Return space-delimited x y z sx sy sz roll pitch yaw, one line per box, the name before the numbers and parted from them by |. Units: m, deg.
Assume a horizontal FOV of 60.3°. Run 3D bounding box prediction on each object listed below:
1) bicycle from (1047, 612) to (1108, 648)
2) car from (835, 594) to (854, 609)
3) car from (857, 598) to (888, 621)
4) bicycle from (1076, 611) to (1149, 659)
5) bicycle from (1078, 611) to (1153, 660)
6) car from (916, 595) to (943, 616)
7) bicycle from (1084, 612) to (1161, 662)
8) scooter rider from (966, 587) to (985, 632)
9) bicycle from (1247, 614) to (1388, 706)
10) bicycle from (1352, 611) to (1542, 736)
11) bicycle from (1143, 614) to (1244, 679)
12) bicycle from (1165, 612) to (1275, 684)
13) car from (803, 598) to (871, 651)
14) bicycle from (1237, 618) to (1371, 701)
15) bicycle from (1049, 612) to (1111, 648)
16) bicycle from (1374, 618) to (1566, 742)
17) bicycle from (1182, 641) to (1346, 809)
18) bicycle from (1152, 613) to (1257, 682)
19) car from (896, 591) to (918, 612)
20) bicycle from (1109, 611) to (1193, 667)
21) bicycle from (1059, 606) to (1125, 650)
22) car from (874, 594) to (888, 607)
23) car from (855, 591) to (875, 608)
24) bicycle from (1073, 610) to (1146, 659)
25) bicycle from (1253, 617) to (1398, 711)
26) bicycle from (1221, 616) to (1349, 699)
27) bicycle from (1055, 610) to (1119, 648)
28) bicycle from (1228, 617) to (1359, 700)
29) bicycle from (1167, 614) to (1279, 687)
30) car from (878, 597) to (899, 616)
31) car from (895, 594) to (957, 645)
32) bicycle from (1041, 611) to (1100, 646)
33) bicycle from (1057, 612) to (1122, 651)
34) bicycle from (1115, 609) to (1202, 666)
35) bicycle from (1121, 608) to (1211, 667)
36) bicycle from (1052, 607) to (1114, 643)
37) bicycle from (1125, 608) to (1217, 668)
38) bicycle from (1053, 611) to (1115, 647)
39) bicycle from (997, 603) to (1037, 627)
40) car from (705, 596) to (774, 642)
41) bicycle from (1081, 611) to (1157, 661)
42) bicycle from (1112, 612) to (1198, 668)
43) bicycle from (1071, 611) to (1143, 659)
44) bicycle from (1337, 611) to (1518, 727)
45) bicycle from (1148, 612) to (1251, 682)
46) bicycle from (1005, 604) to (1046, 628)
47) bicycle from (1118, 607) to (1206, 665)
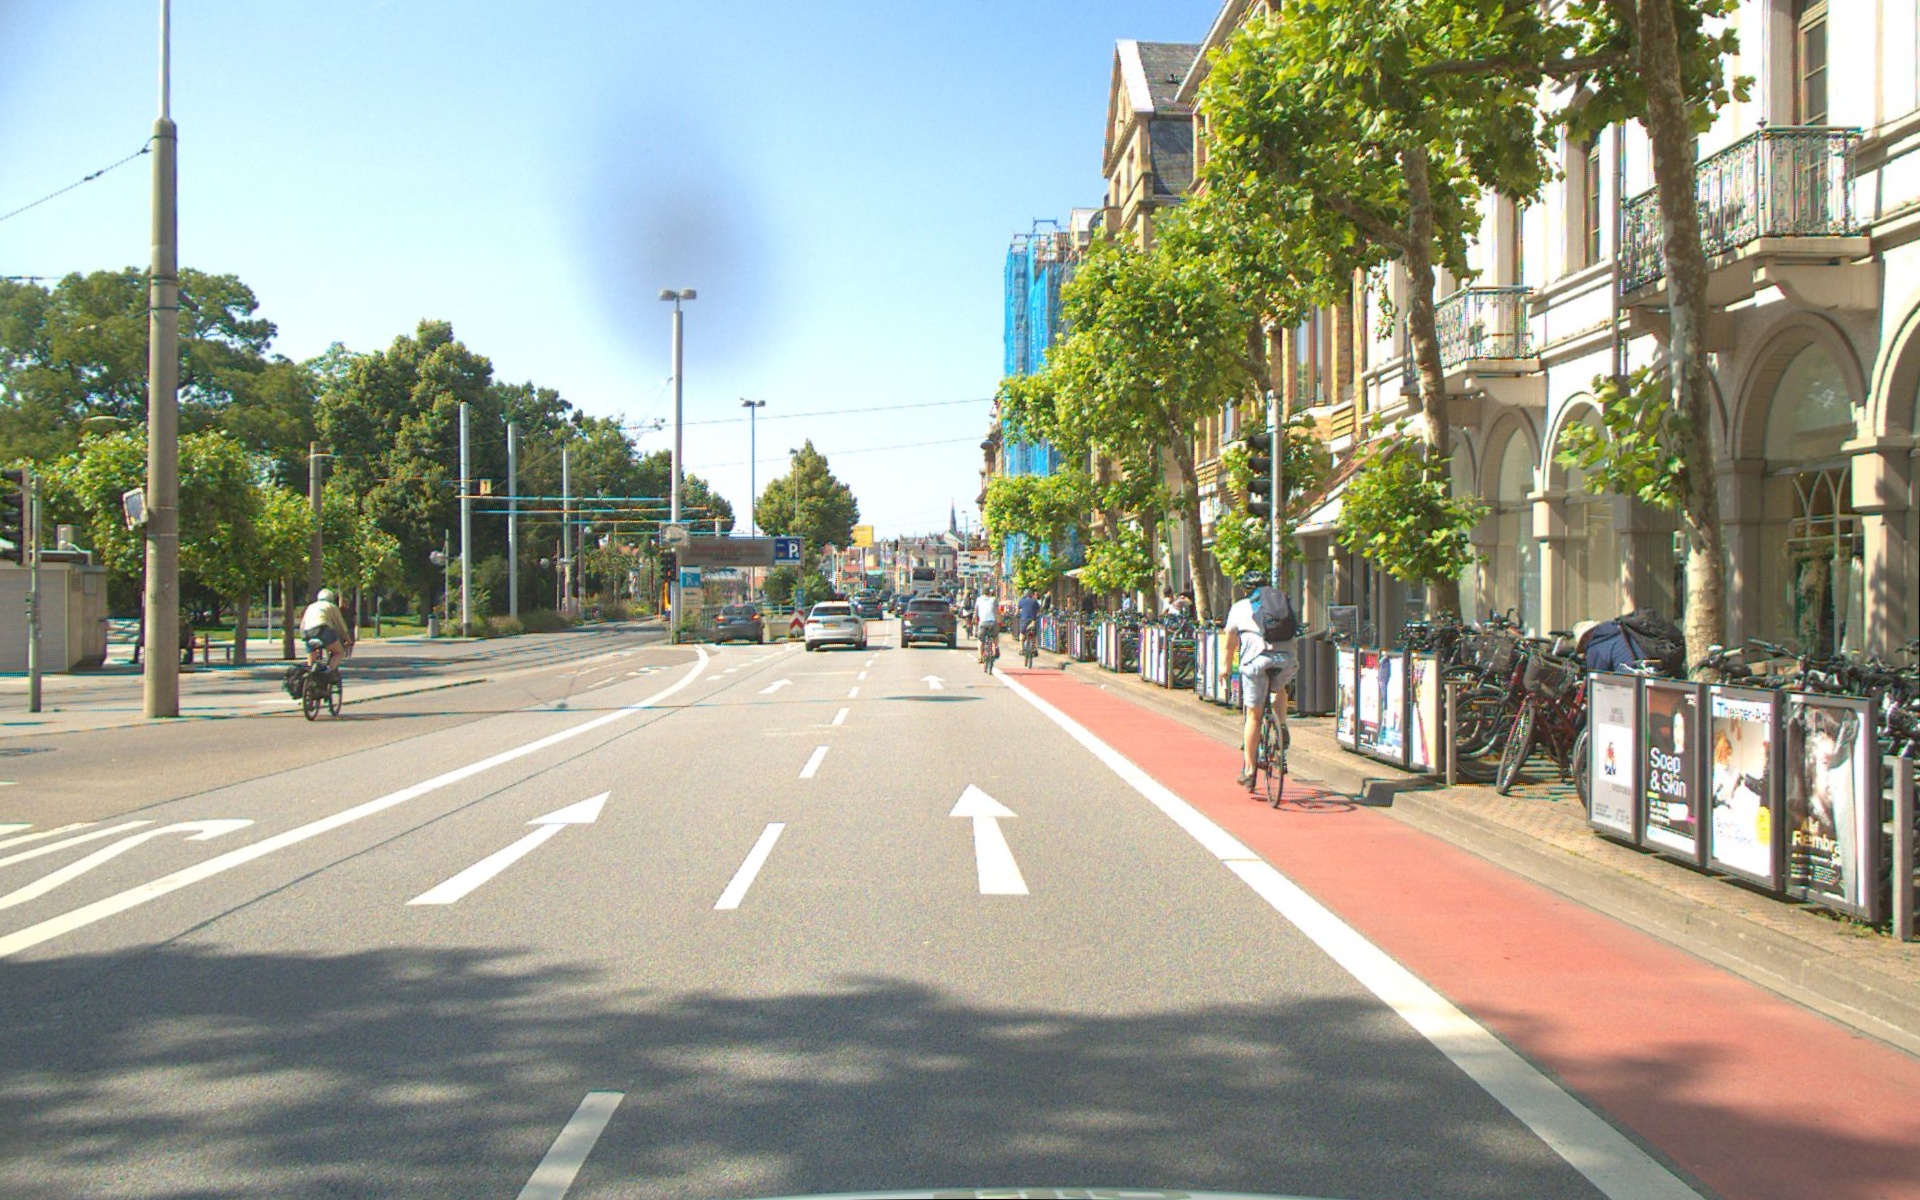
bicycle | 3.410 0.860 48.175 1.718 1.036 0.482 0 0 -4
car | -10.351 0.150 148.469 1.422 1.323 3.999 2 0 -1
car | -5.529 0.590 104.975 1.779 1.355 3.999 2 0 -1
bicycle | 3.677 0.842 39.931 1.718 1.167 0.482 0 0 -4
bicycle | 3.710 0.841 39.443 1.718 1.167 0.482 0 0 -4
car | -2.329 0.415 126.771 1.953 1.519 3.999 2 0 -1
bicycle | 3.773 0.856 38.455 1.718 1.167 0.482 0 0 -4
scooter rider | 0.638 0.384 66.945 0.674 1.759 0.778 2 -1 -2
bicycle | 4.594 0.771 21.290 1.718 1.167 0.482 0 0 -4
bicycle | 4.849 0.723 16.488 1.764 1.215 0.482 0 0 -4
bicycle | 4.161 0.817 29.476 1.718 1.143 0.482 0 0 -4
bicycle | 4.265 0.791 27.170 1.718 1.167 0.527 0 0 -4
car | -3.770 0.737 51.249 1.821 1.533 3.999 2 0 -1
bicycle | 4.657 0.803 22.437 1.718 1.106 0.482 0 0 -4
bicycle | 3.449 0.860 47.663 1.718 1.036 0.482 0 0 -4
bicycle | 4.891 0.760 15.892 1.718 1.167 0.482 0 0 -4
bicycle | 2.283 0.909 12.698 0.719 1.112 2.129 2 0 -4
bicycle | 4.177 0.814 28.307 1.718 1.167 0.482 0 0 -4
car | -3.555 0.122 110.582 1.423 1.323 3.340 2 0 -3
bicycle | 4.032 0.825 34.991 1.718 1.167 0.482 0 0 -4
bicycle | 3.536 0.754 44.474 1.718 1.167 0.482 0 0 -4
car | -8.372 0.064 176.105 1.422 1.323 3.340 2 0 -2
car | -7.834 -0.013 136.371 1.422 1.323 3.999 2 0 -1
bicycle | 3.653 0.843 40.414 1.718 1.167 0.482 0 0 -4
bicycle | 4.589 0.798 20.775 1.718 1.167 0.482 0 0 -4
bicycle | 4.603 0.808 23.439 1.718 1.167 0.482 0 0 -4
bicycle | 3.507 0.788 45.676 1.718 1.036 0.482 0 0 -4
bicycle | 4.616 0.805 22.931 1.718 1.124 0.482 0 0 -4
bicycle | 4.230 0.809 26.602 1.718 1.167 0.482 0 0 -4
car | -5.345 0.485 123.390 1.423 1.323 3.339 2 0 -4
car | -1.084 0.603 52.797 1.836 1.519 3.999 2 0 -1
bicycle | 3.309 0.862 49.483 1.718 1.036 0.482 0 0 -4
bicycle | 3.524 0.852 45.003 1.718 1.036 0.482 0 0 -4
bicycle | 4.076 0.771 33.966 1.718 1.167 0.482 0 0 -4
bicycle | 4.104 0.739 32.941 1.718 1.167 0.482 0 0 -4
bicycle | 3.499 0.707 47.137 1.718 1.036 0.482 0 0 -4
bicycle | 4.123 0.736 32.345 1.718 1.167 0.499 0 0 -4
bicycle | 3.468 0.812 46.399 1.683 1.002 0.482 0 0 -4
bicycle | 2.533 0.657 73.084 1.718 1.036 0.482 0 0 -4
car | -7.903 0.658 59.599 1.953 1.534 3.999 2 0 -1
bicycle | 3.748 0.840 38.957 1.718 1.167 0.482 0 0 -4
bicycle | 4.052 0.828 34.467 1.718 1.167 0.482 0 0 -4
bicycle | 3.627 0.856 40.913 1.718 1.167 0.482 0 0 -4
bicycle | 4.813 0.706 17.060 1.738 1.167 0.482 0 0 -4
bicycle | 4.187 0.817 28.905 1.718 1.208 0.482 0 0 -4
bicycle | 2.807 0.694 71.144 1.718 1.036 0.482 0 0 -4
bicycle | 4.084 0.731 33.460 1.718 1.167 0.482 0 0 -4
